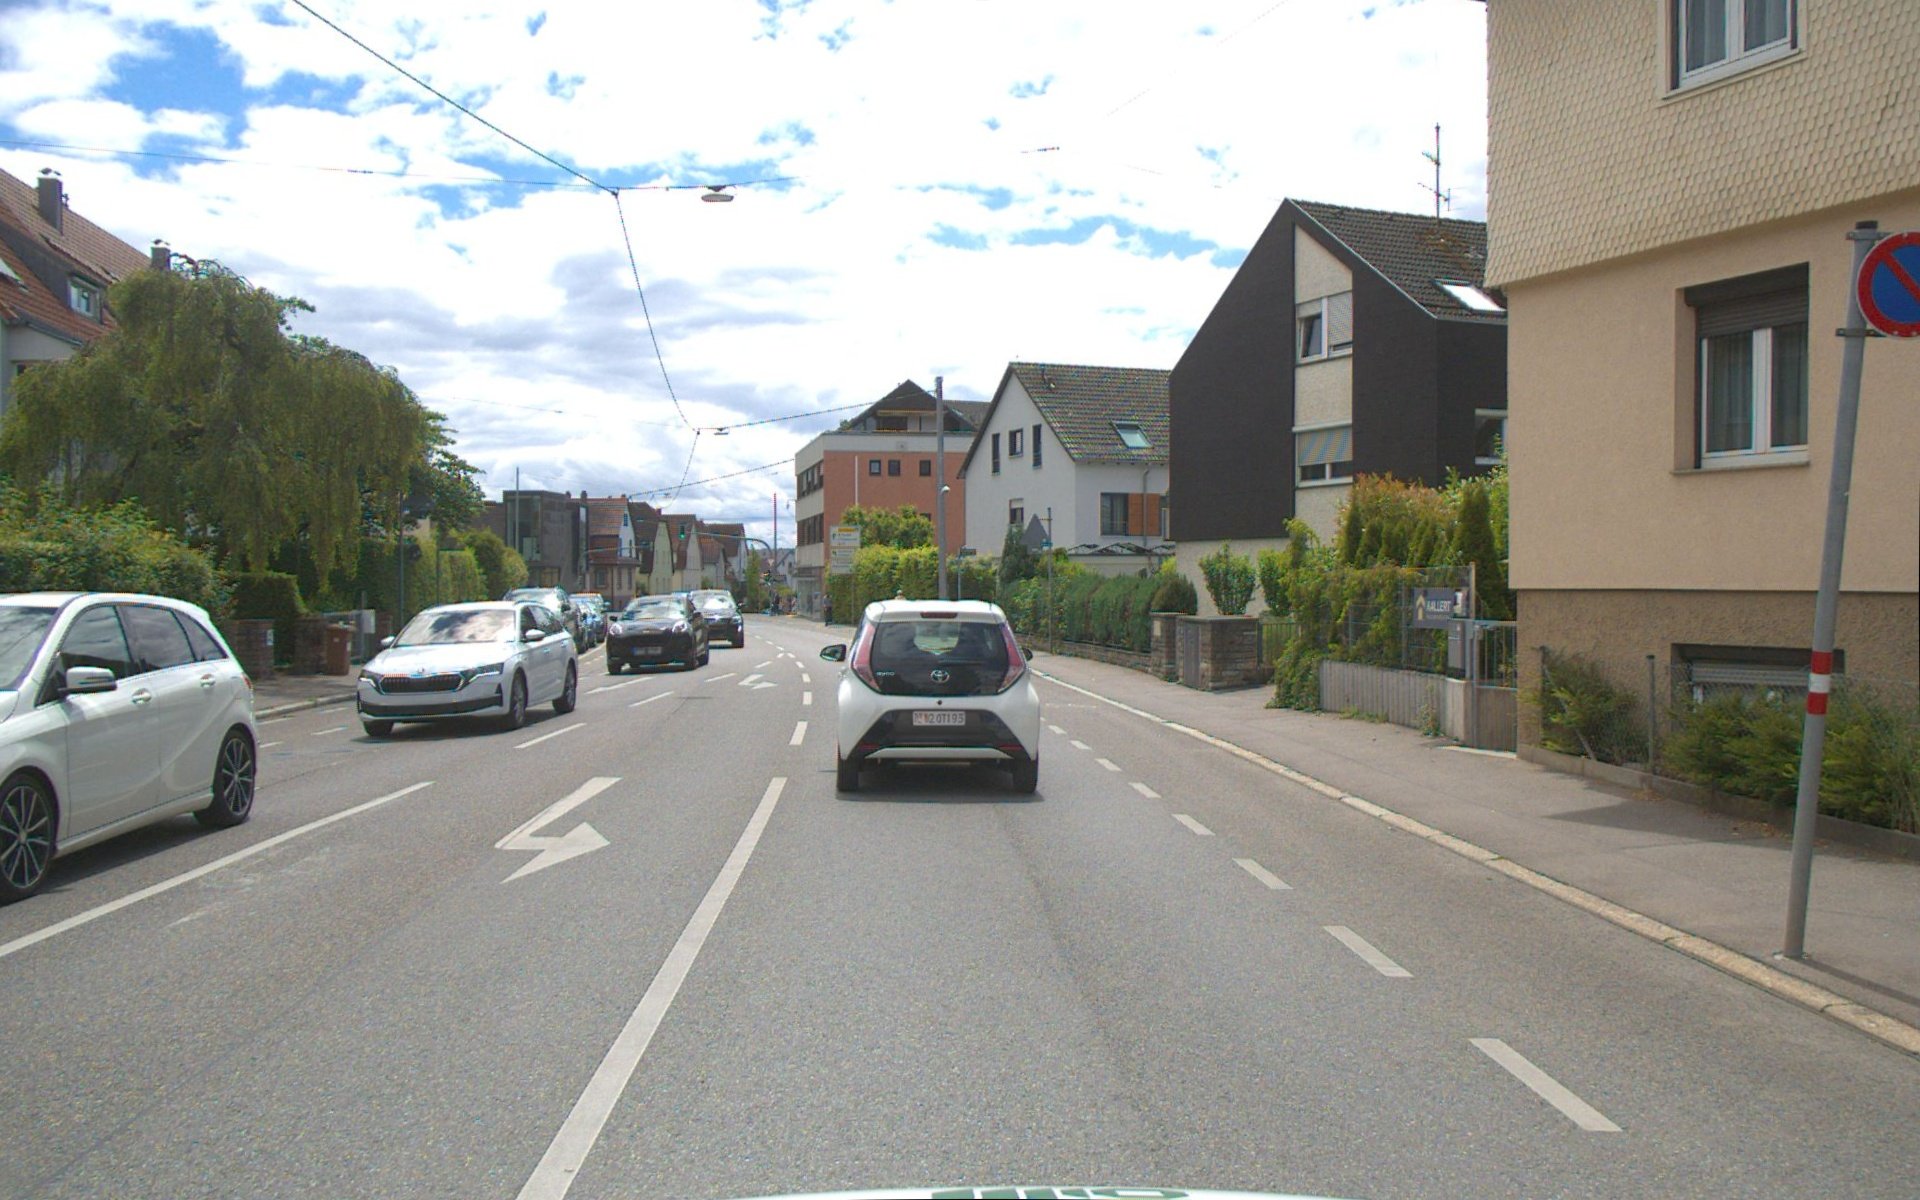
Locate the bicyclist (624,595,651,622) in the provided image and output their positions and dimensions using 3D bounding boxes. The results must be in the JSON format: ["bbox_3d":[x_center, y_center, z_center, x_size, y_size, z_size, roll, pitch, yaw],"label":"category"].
[{"bbox_3d":[-16.772,0.448,85.937,1.098,1.359,1.623,-3,0,-19],"label":"bicyclist"}]

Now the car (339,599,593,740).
[{"bbox_3d":[-5.888,0.753,20.297,1.739,1.455,4.521,-3,0,-1],"label":"car"}]

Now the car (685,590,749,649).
[{"bbox_3d":[-7.173,0.552,48.936,1.742,1.579,4.001,-3,0,-8],"label":"car"}]

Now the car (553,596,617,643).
[{"bbox_3d":[-13.057,0.652,57.768,1.760,1.536,3.994,2,0,-7],"label":"car"}]

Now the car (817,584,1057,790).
[{"bbox_3d":[-0.333,0.675,14.263,1.590,1.512,3.993,1,-1,-8],"label":"car"}]

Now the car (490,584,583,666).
[{"bbox_3d":[-10.583,0.610,41.564,1.742,1.878,4.001,-3,0,-8],"label":"car"}]

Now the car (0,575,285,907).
[{"bbox_3d":[-5.536,0.705,9.427,1.739,1.589,4.167,-2,0,-2],"label":"car"}]

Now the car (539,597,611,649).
[{"bbox_3d":[-12.203,0.699,52.606,1.760,1.536,3.994,2,0,-7],"label":"car"}]

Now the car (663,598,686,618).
[{"bbox_3d":[-26.096,0.724,151.071,1.956,1.713,3.992,2,0,-9],"label":"car"}]

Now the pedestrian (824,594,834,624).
[{"bbox_3d":[-6.374,0.449,80.423,0.405,1.463,0.437,1,0,-9],"label":"pedestrian"}]

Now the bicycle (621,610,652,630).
[{"bbox_3d":[-16.919,1.060,86.445,1.098,0.953,3.767,-3,0,-19],"label":"bicycle"}]

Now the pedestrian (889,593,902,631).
[{"bbox_3d":[-2.470,0.448,63.408,0.406,1.463,0.436,1,0,-14],"label":"pedestrian"}]

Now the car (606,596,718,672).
[{"bbox_3d":[-6.177,0.672,34.654,1.739,1.455,4.007,-1,0,-2],"label":"car"}]
